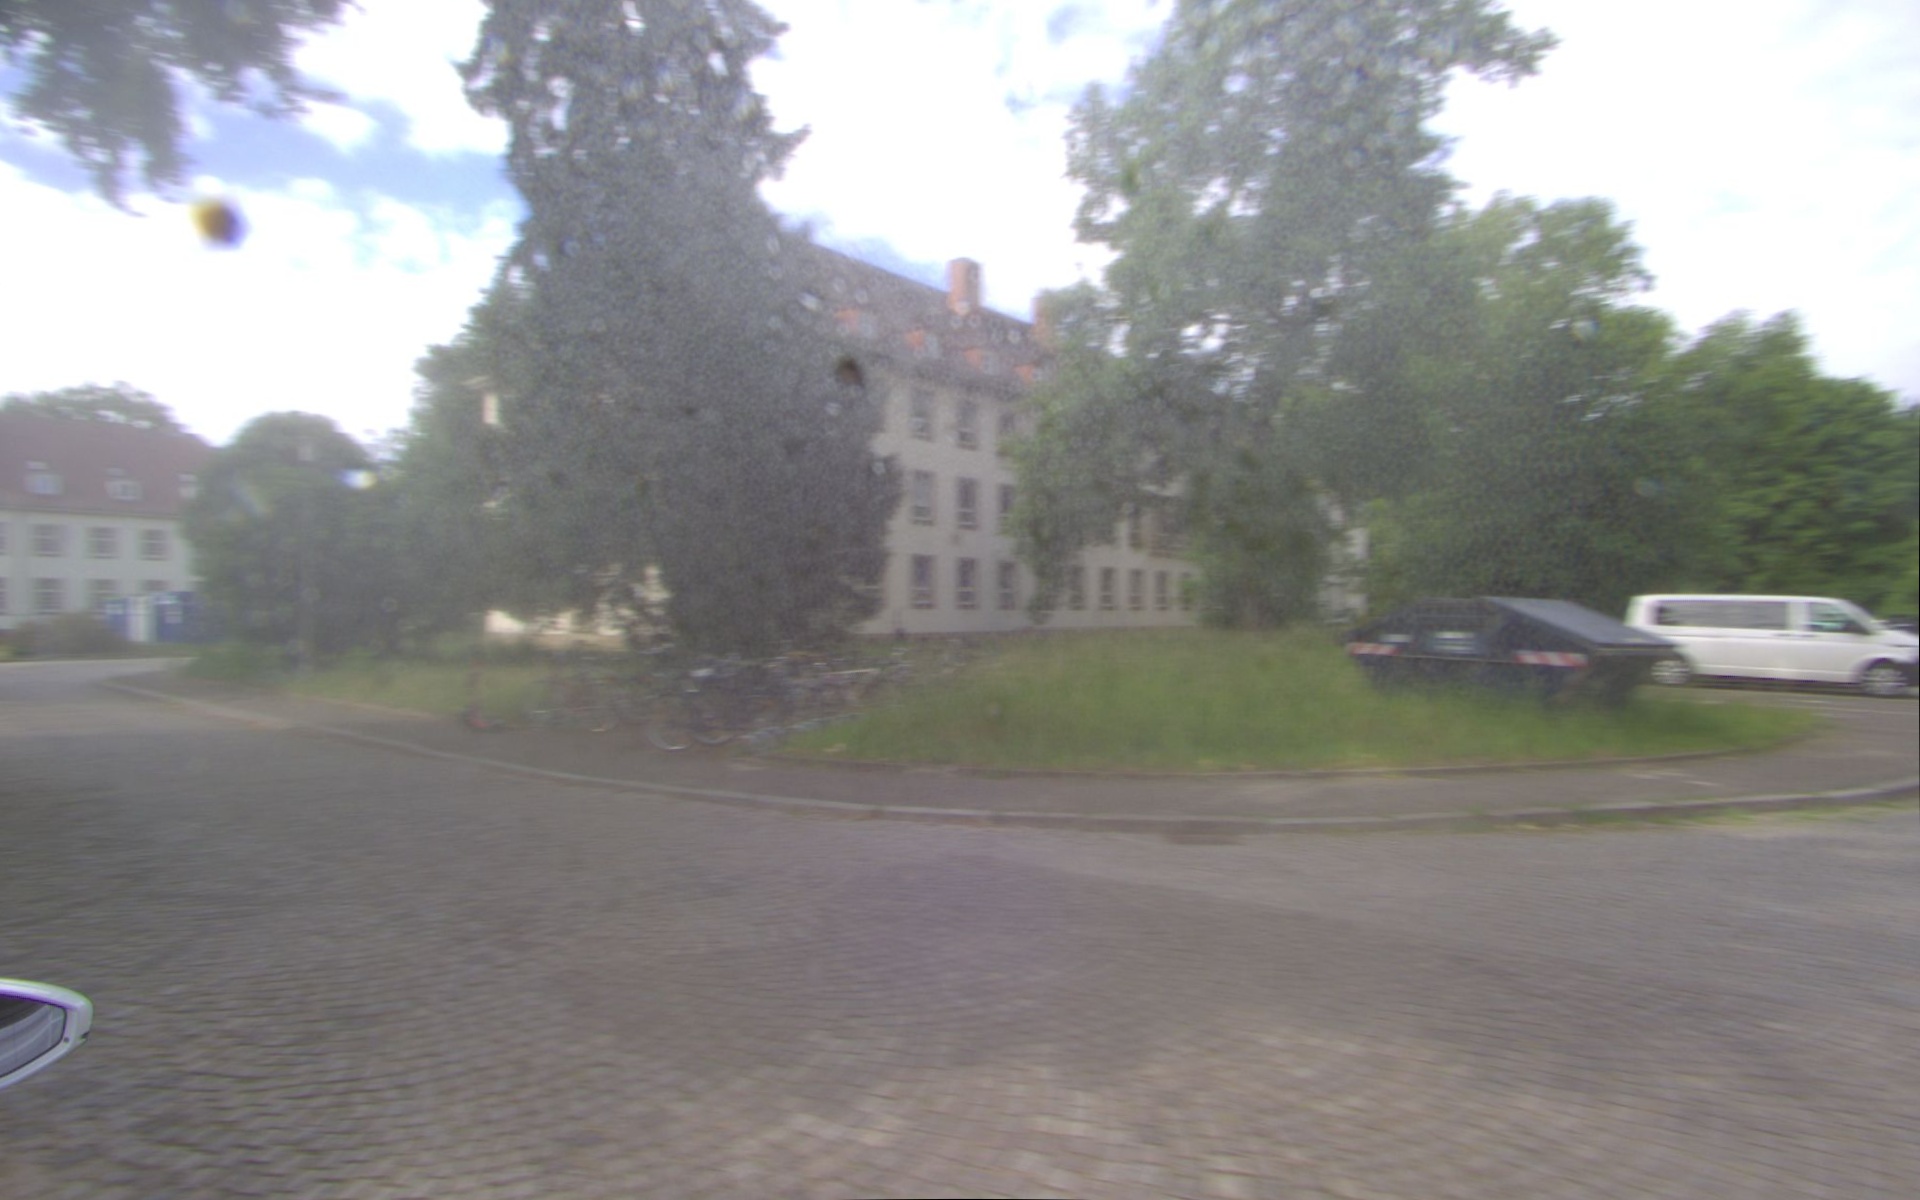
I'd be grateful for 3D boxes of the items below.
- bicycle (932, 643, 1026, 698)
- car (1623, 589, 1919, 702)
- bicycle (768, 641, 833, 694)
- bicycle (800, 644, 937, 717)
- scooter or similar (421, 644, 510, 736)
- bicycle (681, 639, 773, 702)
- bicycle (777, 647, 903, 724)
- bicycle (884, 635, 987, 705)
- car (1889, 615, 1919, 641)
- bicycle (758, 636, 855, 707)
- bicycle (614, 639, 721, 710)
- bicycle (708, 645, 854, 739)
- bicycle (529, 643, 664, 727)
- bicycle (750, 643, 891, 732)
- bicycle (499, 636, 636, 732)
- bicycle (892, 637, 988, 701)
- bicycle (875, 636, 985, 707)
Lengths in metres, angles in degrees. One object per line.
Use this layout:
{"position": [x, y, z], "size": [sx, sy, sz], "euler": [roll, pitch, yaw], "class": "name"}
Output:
{"position": [0.342, 1.269, 18.069], "size": [1.594, 0.923, 0.525], "euler": [-2, 1, 23], "class": "bicycle"}
{"position": [17.073, 0.860, 20.881], "size": [5.156, 2.087, 2.171], "euler": [1, 0, 41], "class": "car"}
{"position": [-3.181, 1.345, 20.004], "size": [1.242, 1.041, 0.433], "euler": [-2, -3, 23], "class": "bicycle"}
{"position": [-1.385, 1.200, 15.081], "size": [1.927, 1.018, 0.684], "euler": [-2, 1, 23], "class": "bicycle"}
{"position": [-7.055, 1.246, 14.263], "size": [0.676, 1.210, 1.537], "euler": [-1, 0, -45], "class": "scooter or similar"}
{"position": [-4.105, 1.229, 17.672], "size": [1.488, 1.050, 0.544], "euler": [0, 2, 12], "class": "bicycle"}
{"position": [-1.717, 1.211, 14.331], "size": [1.668, 1.015, 0.630], "euler": [-2, 1, 23], "class": "bicycle"}
{"position": [-0.422, 1.202, 17.214], "size": [1.673, 1.131, 0.540], "euler": [-2, 1, 23], "class": "bicycle"}
{"position": [63.854, 1.924, 67.245], "size": [2.047, 1.614, 3.966], "euler": [3, 1, 43], "class": "car"}
{"position": [-2.741, 1.258, 17.907], "size": [1.614, 1.202, 0.573], "euler": [0, 2, 16], "class": "bicycle"}
{"position": [-4.763, 1.201, 16.329], "size": [1.599, 1.088, 0.539], "euler": [0, 2, 12], "class": "bicycle"}
{"position": [-2.334, 1.177, 13.038], "size": [1.744, 1.118, 0.700], "euler": [-2, 1, 23], "class": "bicycle"}
{"position": [-5.399, 1.237, 14.861], "size": [1.958, 1.129, 0.642], "euler": [0, 2, 23], "class": "bicycle"}
{"position": [-1.898, 1.170, 13.640], "size": [1.769, 1.118, 0.700], "euler": [-2, 1, 23], "class": "bicycle"}
{"position": [-5.574, 1.167, 14.211], "size": [1.869, 1.239, 0.642], "euler": [0, 2, 23], "class": "bicycle"}
{"position": [-0.354, 1.226, 17.781], "size": [1.594, 1.073, 0.525], "euler": [-2, 1, 23], "class": "bicycle"}
{"position": [-0.503, 1.183, 16.657], "size": [1.747, 1.120, 0.540], "euler": [-2, 1, 23], "class": "bicycle"}
